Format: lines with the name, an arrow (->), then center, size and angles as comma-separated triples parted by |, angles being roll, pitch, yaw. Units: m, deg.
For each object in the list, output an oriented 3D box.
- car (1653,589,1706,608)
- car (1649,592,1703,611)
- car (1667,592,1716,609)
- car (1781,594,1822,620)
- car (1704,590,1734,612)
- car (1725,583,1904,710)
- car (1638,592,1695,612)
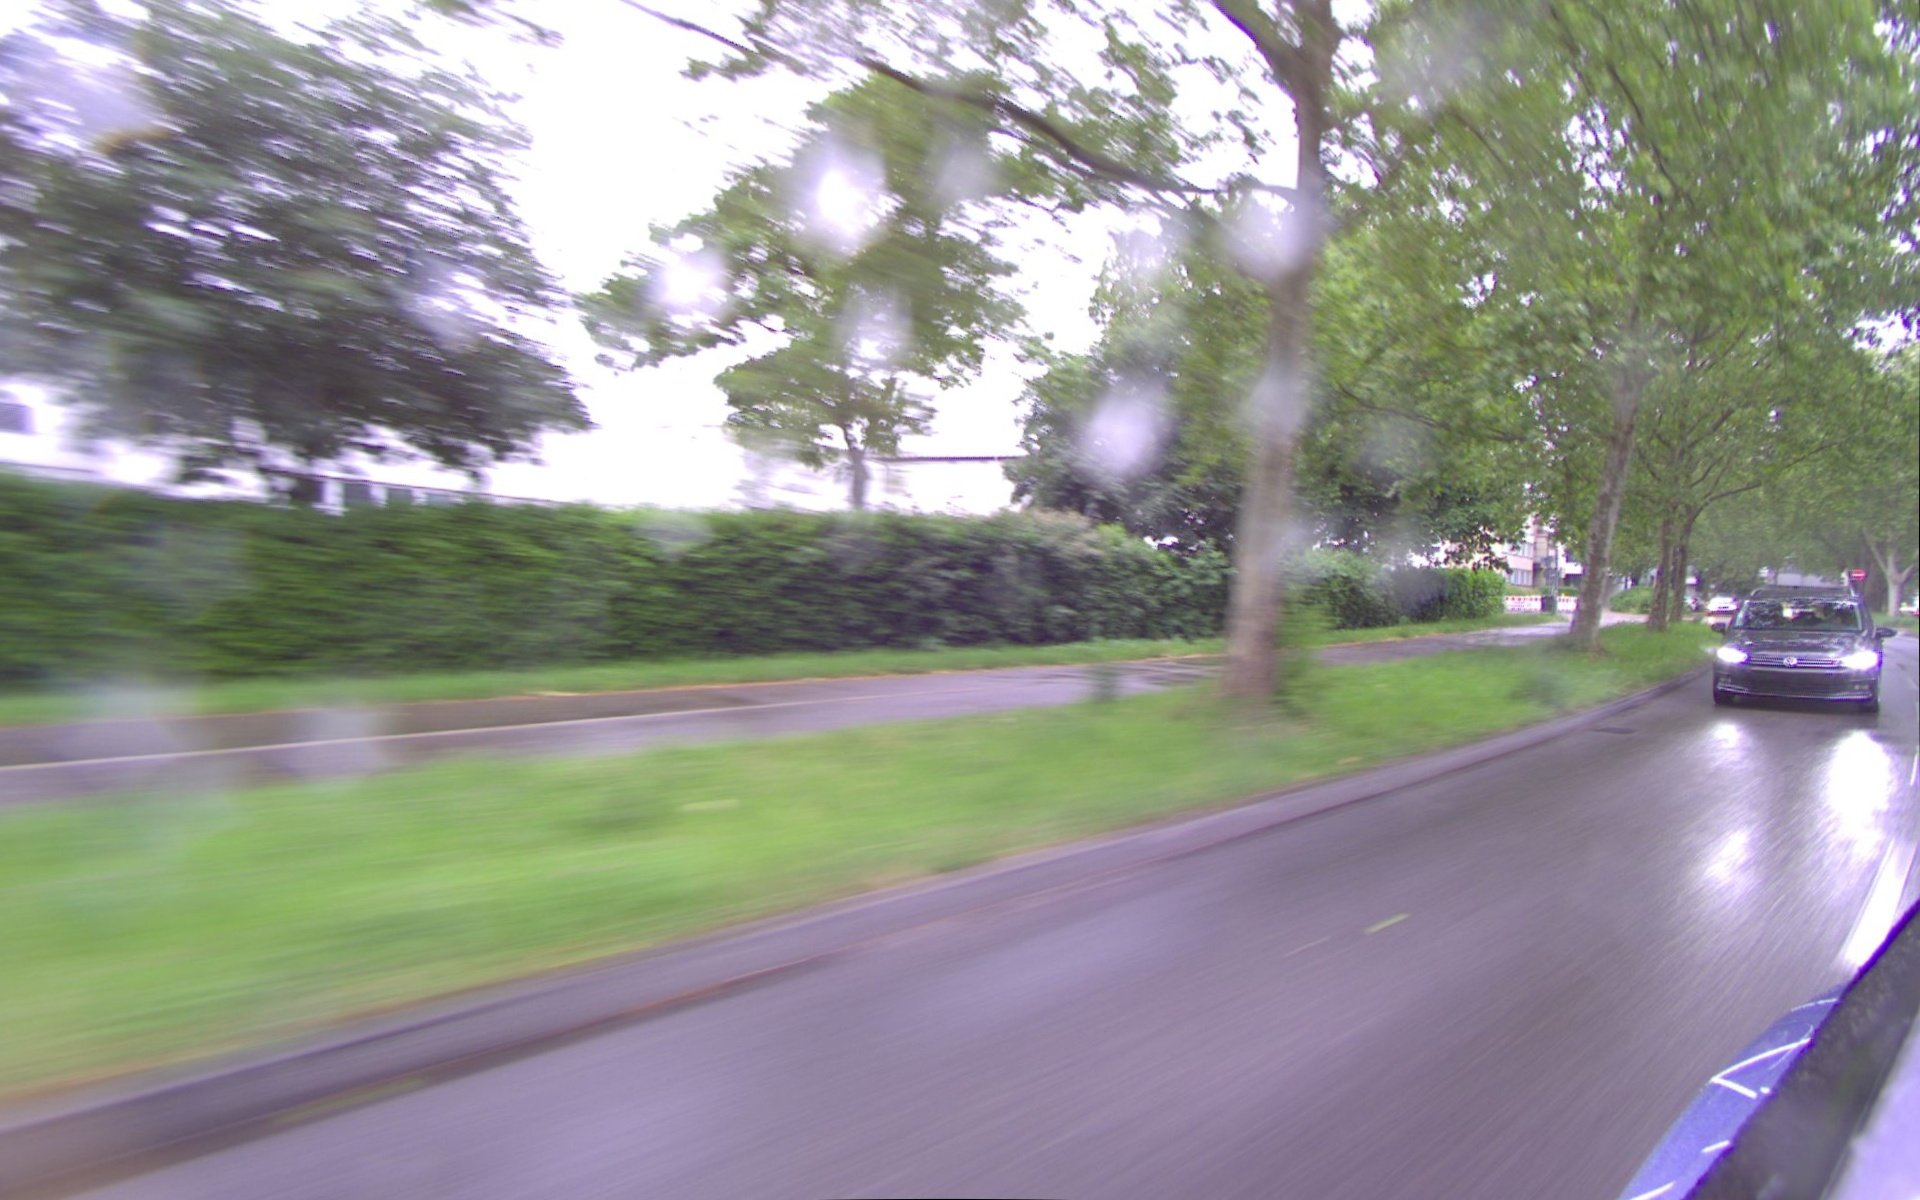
car -> 68.154, -0.148, 95.911 | 3.978, 1.575, 1.761 | 2, 1, 37
car -> 64.786, 0.148, 91.600 | 3.978, 1.575, 1.761 | 2, 1, 37
car -> 74.151, 0.029, 102.649 | 3.978, 1.575, 1.761 | 2, 1, 37
car -> 54.139, 0.424, 65.177 | 1.775, 1.575, 3.947 | 2, 1, 37
car -> 57.324, 0.073, 76.459 | 1.775, 1.575, 3.946 | 2, 1, 37
car -> 12.329, 0.570, 14.672 | 1.777, 1.575, 3.942 | 0, 0, 40
car -> 61.135, 0.191, 87.567 | 3.978, 1.575, 1.761 | 2, 1, 37
